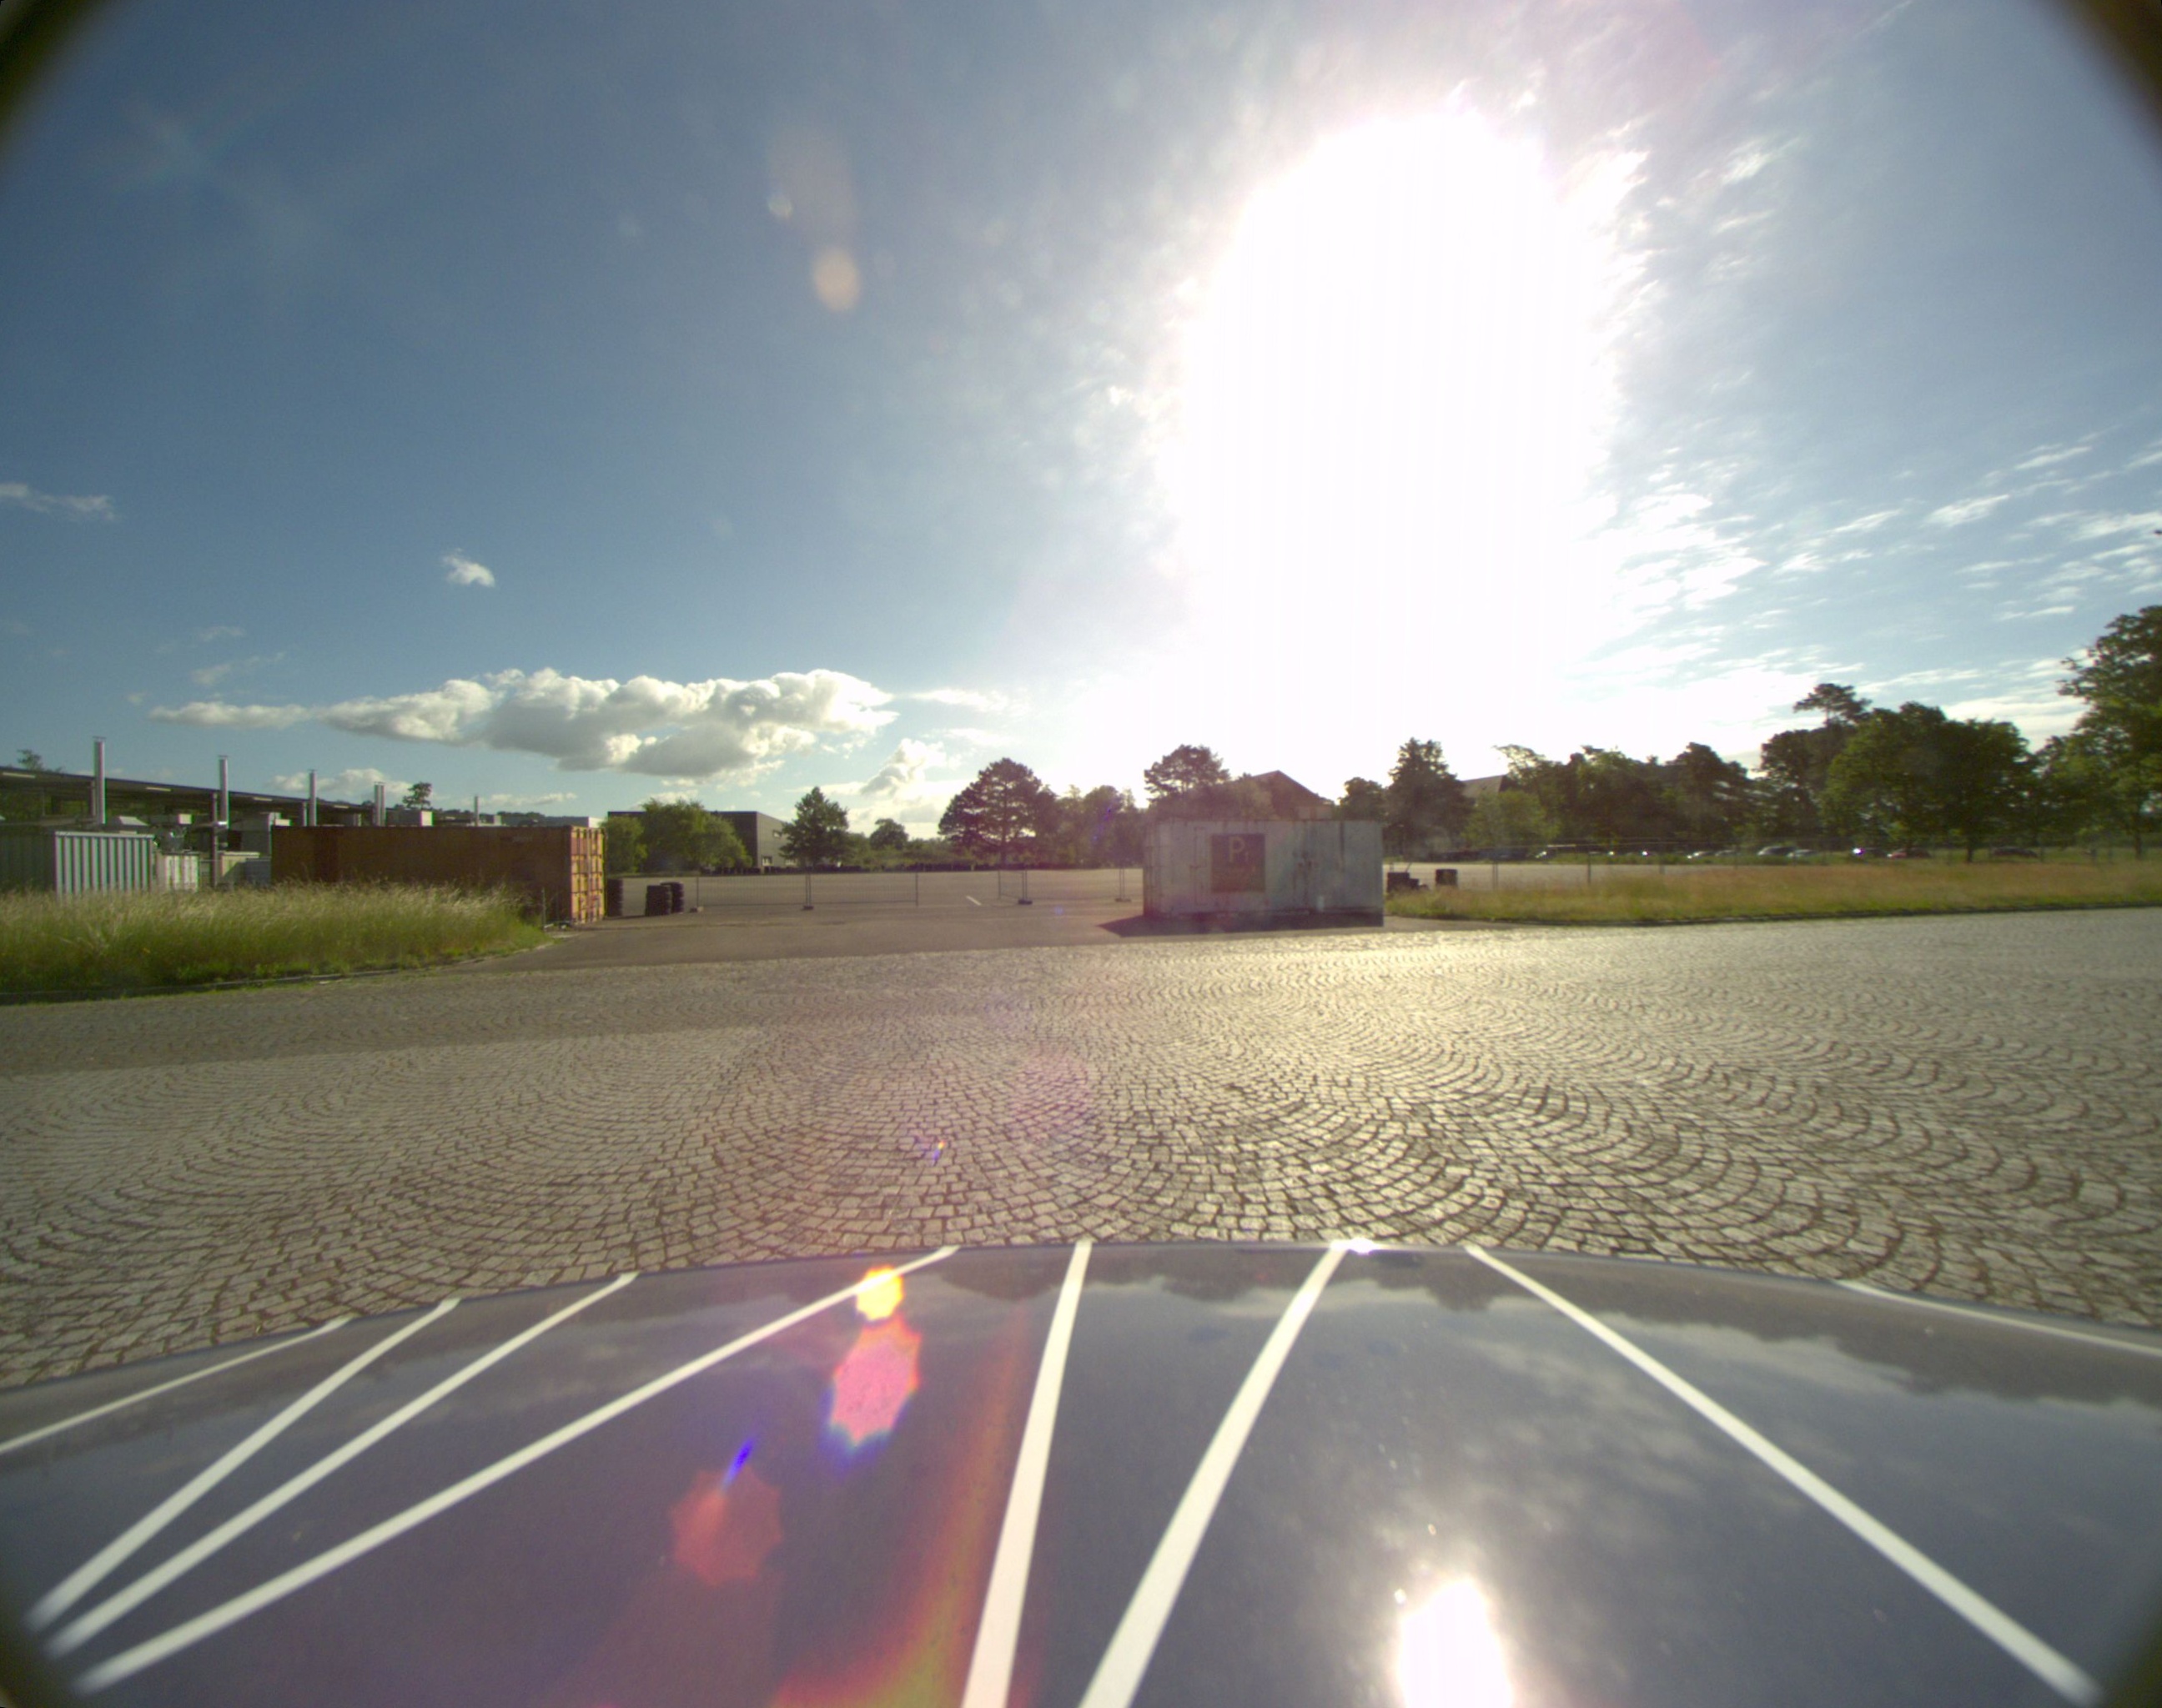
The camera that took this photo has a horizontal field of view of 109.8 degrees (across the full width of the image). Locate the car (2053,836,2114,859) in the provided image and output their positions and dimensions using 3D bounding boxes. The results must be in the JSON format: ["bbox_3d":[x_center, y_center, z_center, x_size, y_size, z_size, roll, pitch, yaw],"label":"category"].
[{"bbox_3d":[89.454,-0.597,67.789,4.002,2.002,1.997,-1,0,-16],"label":"car"}]

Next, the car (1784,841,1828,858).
[{"bbox_3d":[84.311,-0.560,88.349,4.002,1.936,1.997,-1,1,-16],"label":"car"}]

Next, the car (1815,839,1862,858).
[{"bbox_3d":[85.984,-0.626,86.289,4.002,2.002,1.997,-1,0,-14],"label":"car"}]

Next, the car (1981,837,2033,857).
[{"bbox_3d":[87.988,-0.668,72.205,4.004,1.805,1.996,-1,0,-20],"label":"car"}]

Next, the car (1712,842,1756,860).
[{"bbox_3d":[82.394,-0.375,95.901,3.999,2.001,2.000,-2,-2,-7],"label":"car"}]

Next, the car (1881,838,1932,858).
[{"bbox_3d":[86.310,-0.603,79.481,4.002,2.002,1.997,-1,0,-15],"label":"car"}]

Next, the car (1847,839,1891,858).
[{"bbox_3d":[85.307,-0.571,82.275,4.004,2.002,1.996,-1,0,-22],"label":"car"}]
